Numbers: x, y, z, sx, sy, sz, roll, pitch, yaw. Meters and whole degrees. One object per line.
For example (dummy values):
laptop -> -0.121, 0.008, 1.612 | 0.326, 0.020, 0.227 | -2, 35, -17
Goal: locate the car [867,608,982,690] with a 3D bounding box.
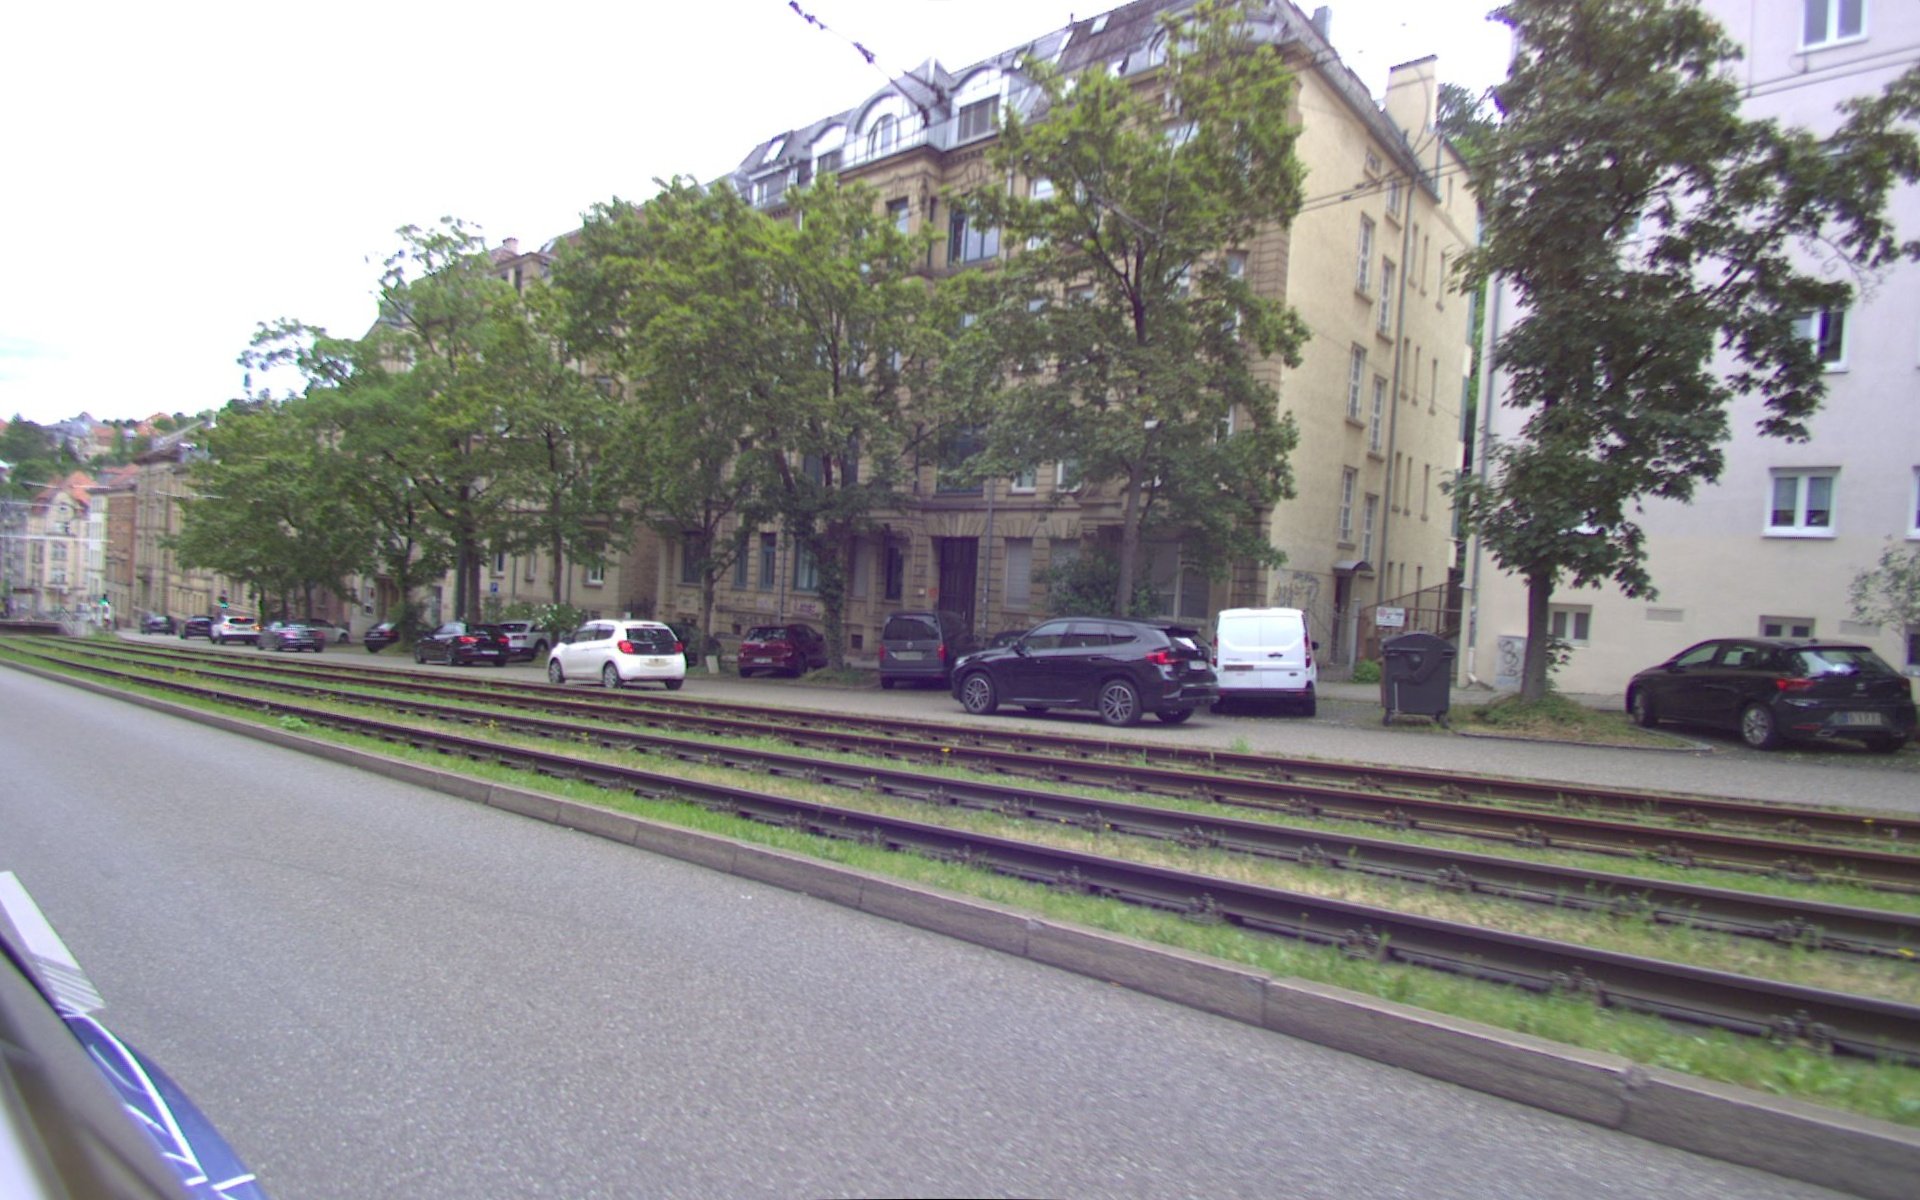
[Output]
car -> -0.757, 1.135, 24.470 | 1.852, 1.781, 4.176 | 0, -2, 11

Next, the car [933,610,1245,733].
car -> 1.917, 1.049, 15.977 | 4.605, 1.662, 1.897 | -1, -4, 41

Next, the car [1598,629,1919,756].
car -> 11.202, 1.168, 14.327 | 1.914, 1.355, 4.596 | 0, 0, 8

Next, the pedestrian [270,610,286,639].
pedestrian -> -47.684, 1.723, 70.713 | 0.796, 2.029, 0.713 | -2, -3, 40

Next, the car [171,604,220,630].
car -> -51.279, 1.160, 67.870 | 4.241, 1.669, 1.761 | -1, -3, 42

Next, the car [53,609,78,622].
car -> -99.800, 1.763, 112.889 | 4.749, 1.439, 1.729 | -1, -3, 44

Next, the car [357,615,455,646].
car -> -25.611, 1.406, 46.919 | 1.694, 1.375, 4.168 | 0, -1, 11

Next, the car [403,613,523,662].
car -> -16.182, 1.190, 32.868 | 4.491, 1.446, 1.846 | 0, -4, 41

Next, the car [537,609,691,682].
car -> -7.423, 0.956, 21.593 | 3.410, 1.446, 1.571 | -1, -4, 41

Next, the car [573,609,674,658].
car -> -11.660, 1.148, 35.380 | 1.848, 1.585, 4.184 | 0, -2, 5

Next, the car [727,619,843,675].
car -> -4.851, 1.296, 28.663 | 1.852, 1.446, 4.176 | 0, -2, 11

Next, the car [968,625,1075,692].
car -> 1.472, 1.244, 22.735 | 1.852, 1.350, 4.176 | 0, -2, 11

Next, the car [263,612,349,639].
car -> -36.029, 1.420, 55.906 | 1.766, 1.433, 3.987 | 0, -1, 10

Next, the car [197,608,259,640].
car -> -39.726, 1.279, 54.909 | 4.344, 1.629, 1.761 | -1, -3, 42

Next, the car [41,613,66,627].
car -> -111.239, 2.460, 124.177 | 4.471, 1.663, 1.859 | -1, -4, 44

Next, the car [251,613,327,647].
car -> -30.252, 1.337, 45.573 | 4.596, 1.421, 1.706 | -1, -3, 42

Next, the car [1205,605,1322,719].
car -> 5.514, 1.064, 18.750 | 1.854, 1.850, 4.172 | 0, -2, 14

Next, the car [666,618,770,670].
car -> -7.290, 1.309, 30.956 | 1.848, 1.446, 4.184 | 0, -2, 5

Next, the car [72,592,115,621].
car -> -88.177, 0.703, 102.975 | 6.517, 2.720, 2.366 | -1, -4, 42

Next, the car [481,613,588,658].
car -> -15.762, 1.281, 37.746 | 1.766, 1.480, 4.143 | 1, 0, 9

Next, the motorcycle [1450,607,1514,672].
motorcycle -> 12.095, 0.904, 23.413 | 0.769, 1.428, 2.152 | -1, -2, 43

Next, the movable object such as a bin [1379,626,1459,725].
movable object such as a bin -> 7.120, 1.131, 15.697 | 1.090, 1.411, 1.267 | 0, -1, 26

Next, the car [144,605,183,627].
car -> -64.373, 1.282, 81.761 | 4.472, 1.663, 1.859 | -1, -4, 44
